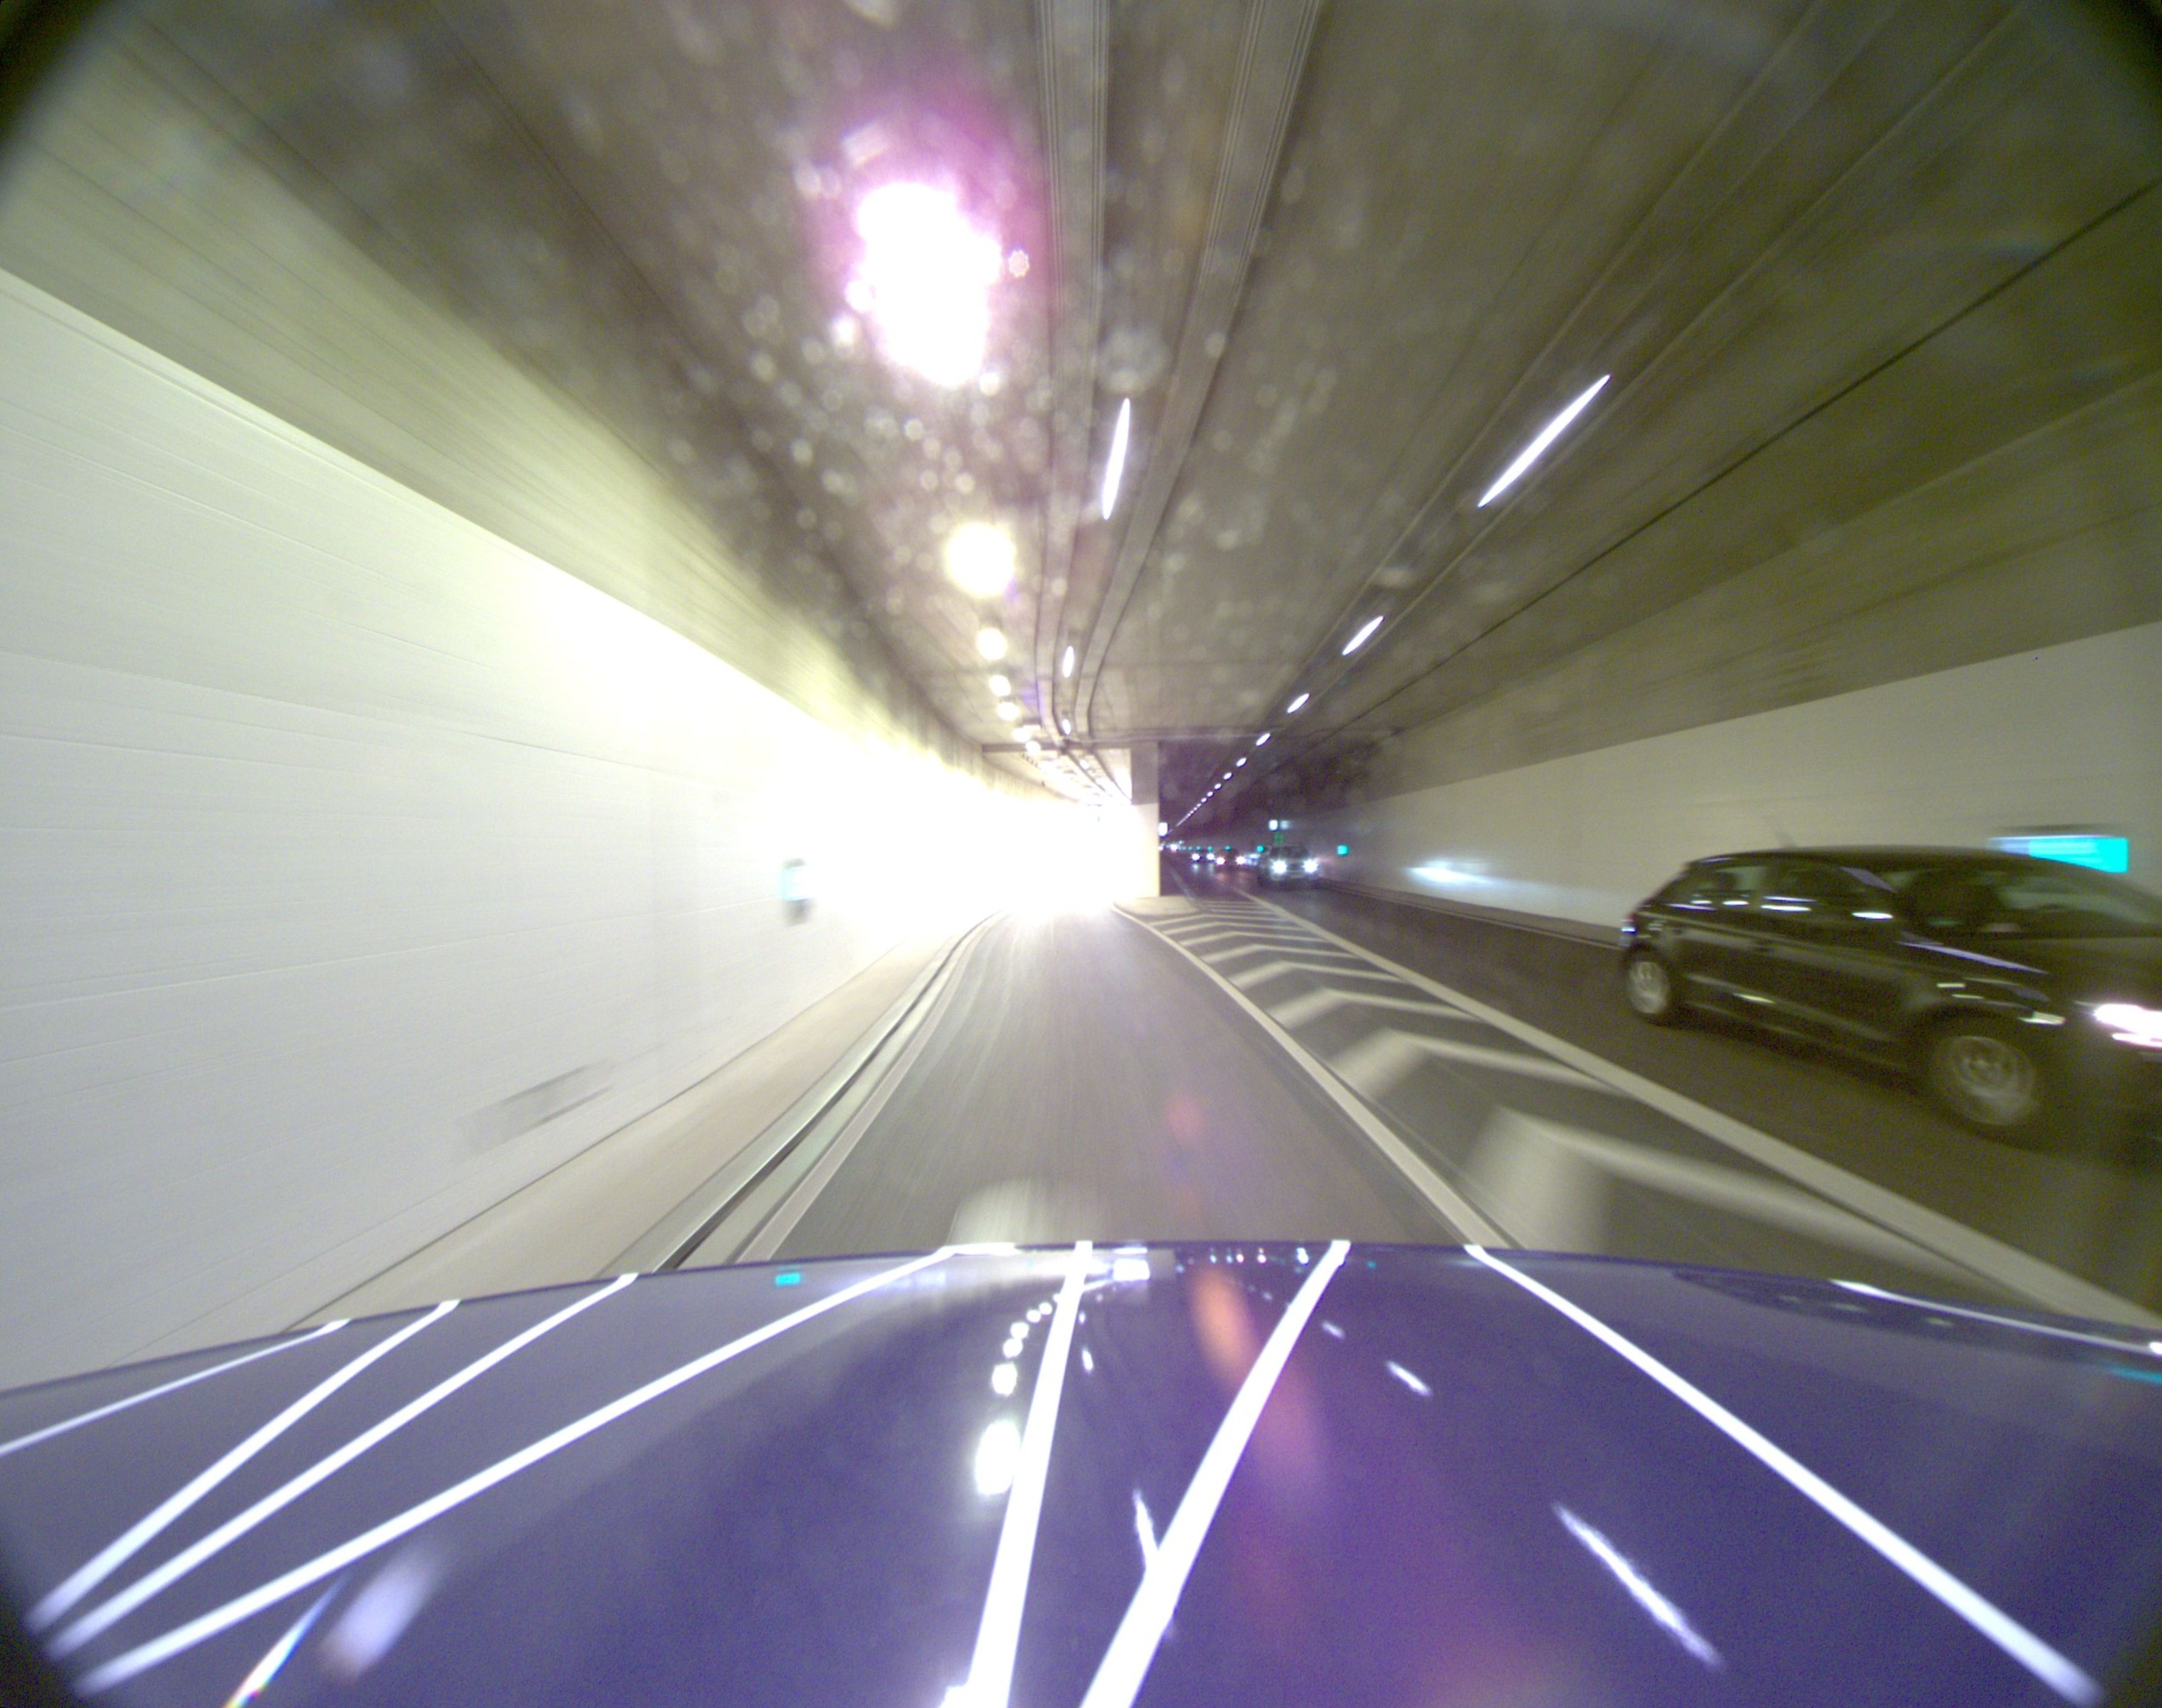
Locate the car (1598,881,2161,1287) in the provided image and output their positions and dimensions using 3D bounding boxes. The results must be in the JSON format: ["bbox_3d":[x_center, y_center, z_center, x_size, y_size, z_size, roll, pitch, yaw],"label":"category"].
[{"bbox_3d":[5.125,0.954,4.516,1.660,1.393,3.877,-1,0,4],"label":"car"}]

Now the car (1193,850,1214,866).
[{"bbox_3d":[12.512,0.387,77.669,1.718,1.443,3.681,-3,0,4],"label":"car"}]

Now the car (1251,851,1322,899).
[{"bbox_3d":[7.655,0.736,28.602,1.853,1.655,3.832,-1,0,4],"label":"car"}]

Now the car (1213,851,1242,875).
[{"bbox_3d":[9.987,0.593,52.018,1.607,1.462,3.682,-3,0,6],"label":"car"}]

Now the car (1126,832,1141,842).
[{"bbox_3d":[6.939,-2.239,100.536,1.828,1.328,4.001,-1,1,6],"label":"car"}]
